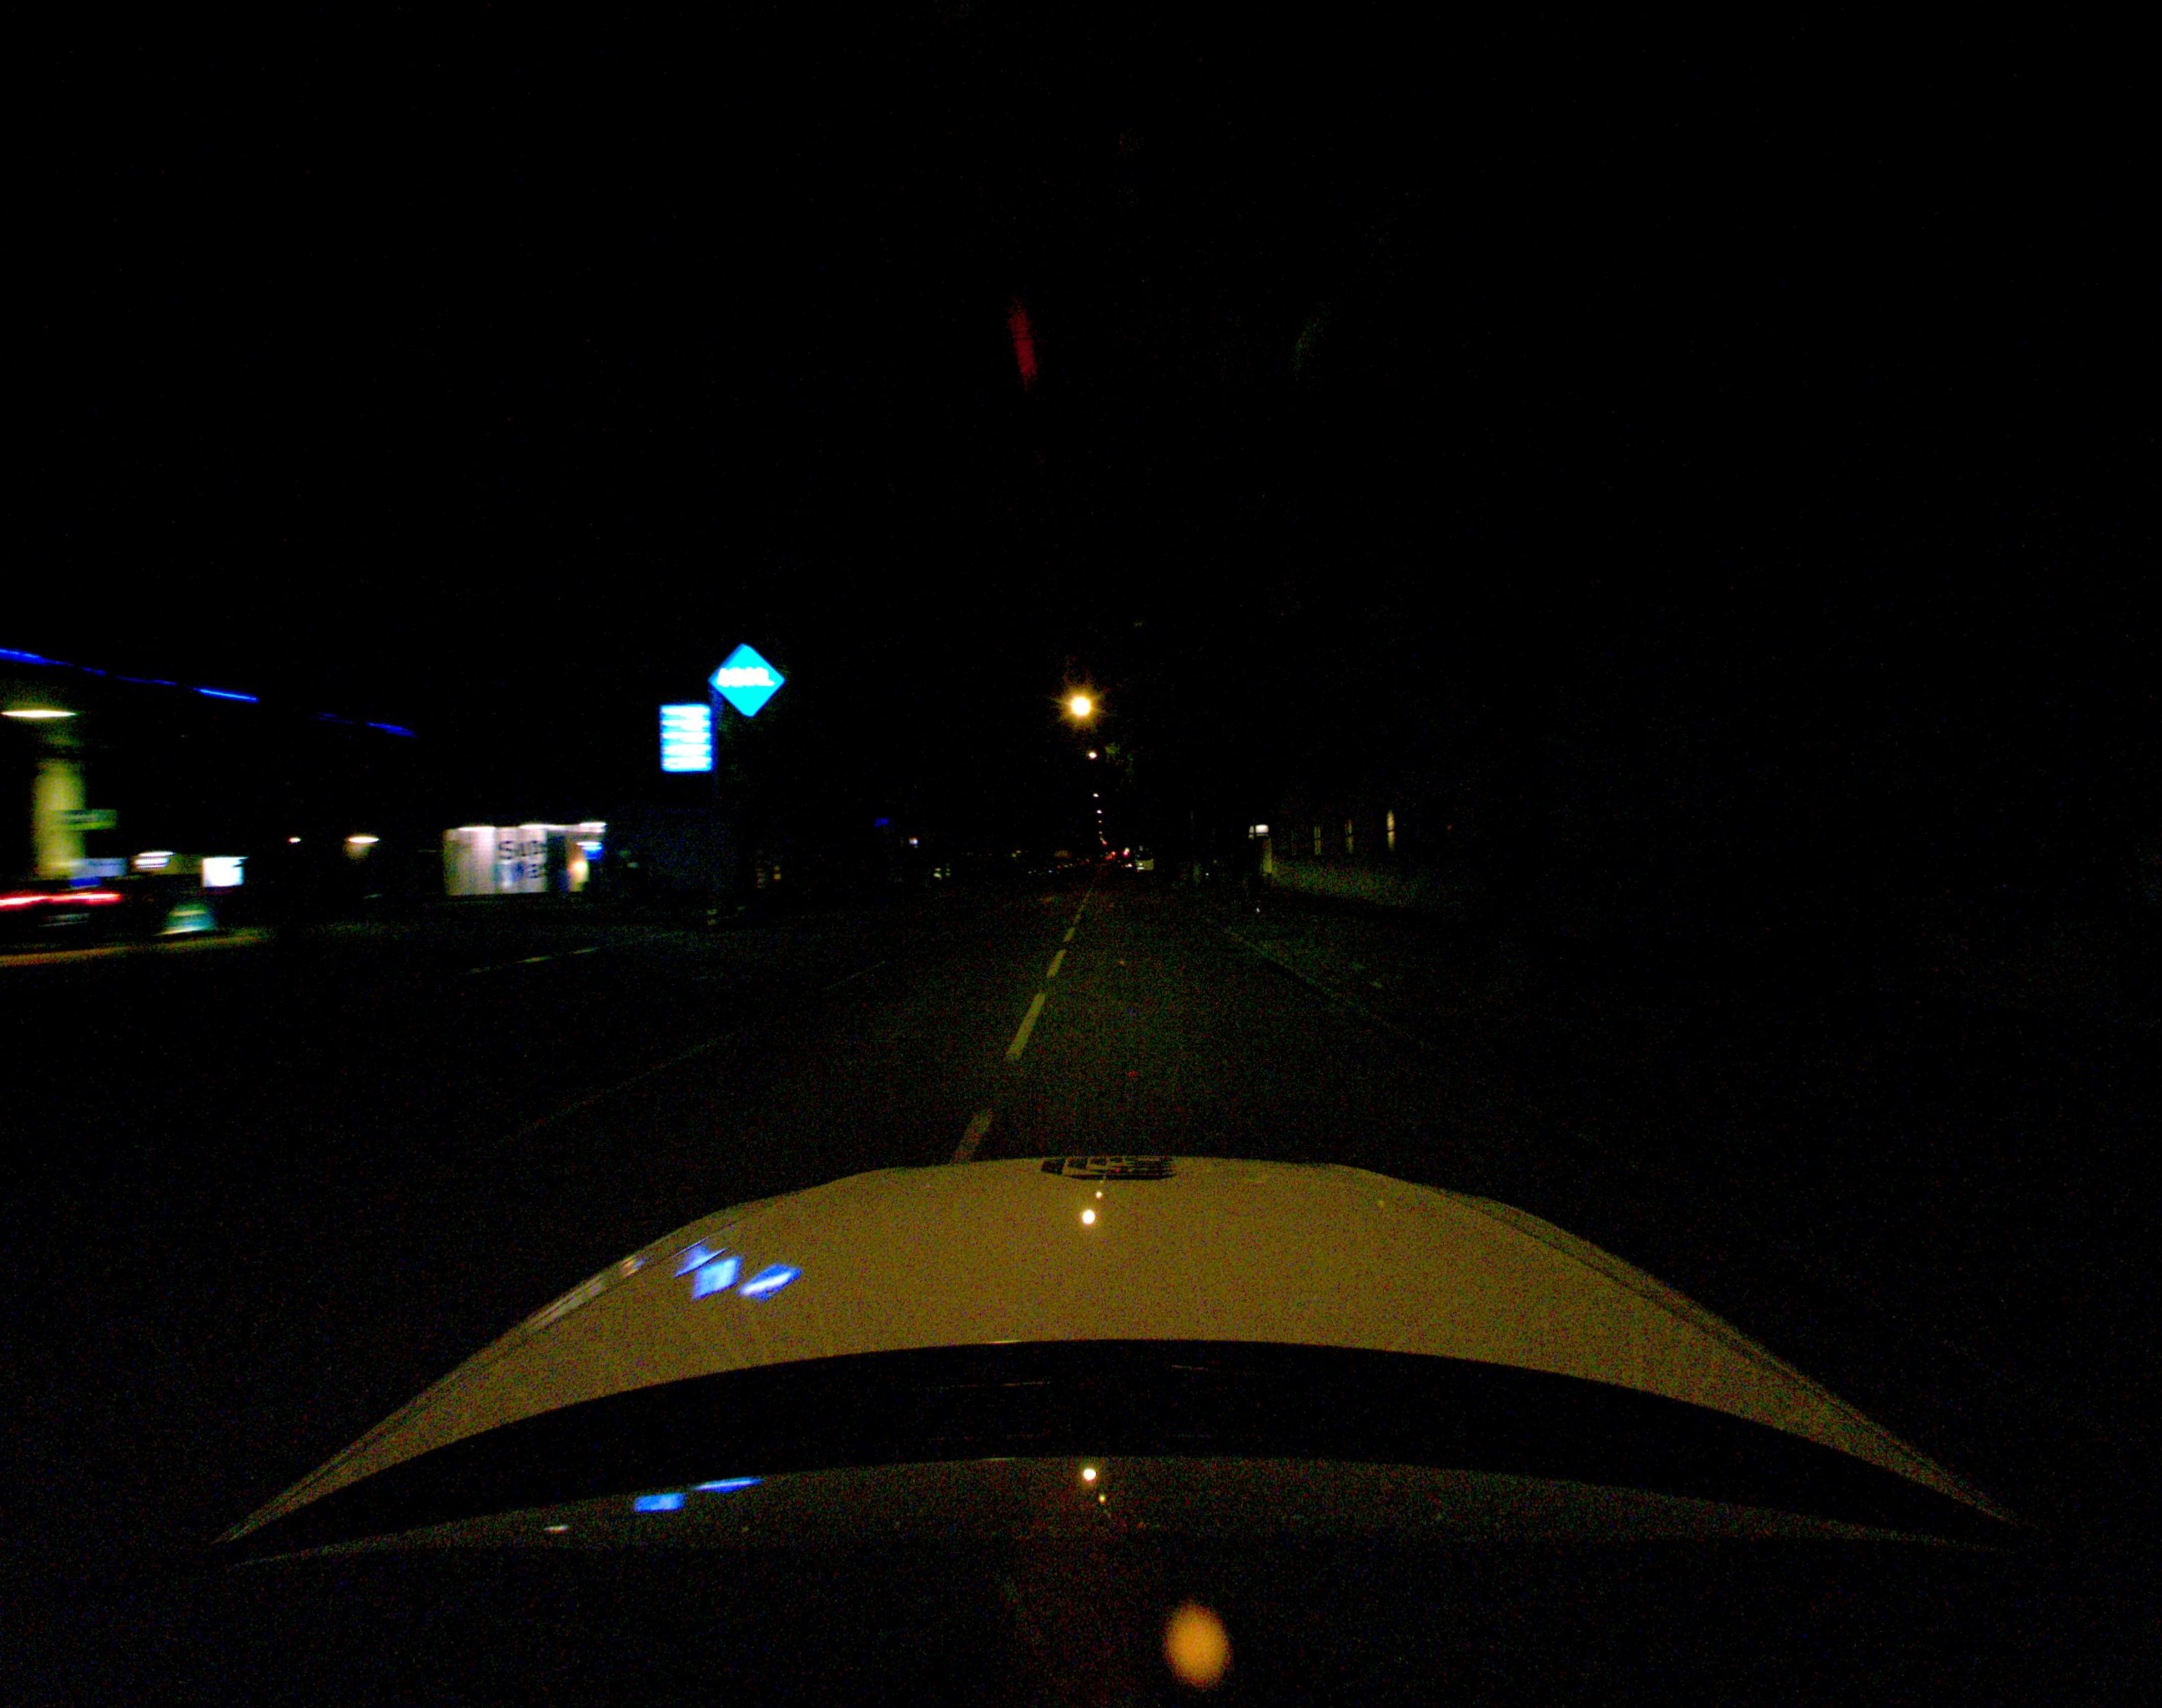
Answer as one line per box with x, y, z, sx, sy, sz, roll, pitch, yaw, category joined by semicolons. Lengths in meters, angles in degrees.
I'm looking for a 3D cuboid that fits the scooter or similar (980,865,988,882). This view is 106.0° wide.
-6.884;1.382;57.865;0.365;1.204;1.428;-2;-1;2;scooter or similar

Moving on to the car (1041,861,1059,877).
-2.968;1.436;78.784;1.440;1.429;3.904;1;0;1;car

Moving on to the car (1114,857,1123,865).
8.631;1.562;187.711;1.846;1.654;4.211;-1;0;2;car

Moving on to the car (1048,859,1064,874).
-2.721;1.370;88.555;1.640;1.505;3.860;1;0;0;car

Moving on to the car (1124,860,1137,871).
7.094;1.619;116.662;1.661;1.429;4.152;-3;-1;4;car

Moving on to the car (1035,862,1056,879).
-3.144;1.442;72.885;1.637;1.504;3.904;1;0;1;car

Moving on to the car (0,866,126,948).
-21.796;1.017;16.137;3.737;1.533;1.670;0;-1;0;car

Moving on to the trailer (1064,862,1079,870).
-1.534;1.922;130.221;2.102;1.335;5.438;1;-1;3;trailer

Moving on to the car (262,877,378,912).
-30.405;1.613;32.610;3.137;1.265;1.575;-1;0;0;car

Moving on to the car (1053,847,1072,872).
-2.248;0.681;100.818;2.171;2.909;4.910;0;-1;1;car

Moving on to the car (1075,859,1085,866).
-0.144;1.725;166.143;1.693;1.433;3.831;2;0;3;car

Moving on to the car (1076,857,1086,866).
-0.012;1.544;170.881;1.815;1.811;4.213;2;0;3;car

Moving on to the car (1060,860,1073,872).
-1.916;1.625;111.604;1.736;1.606;4.297;0;0;0;car

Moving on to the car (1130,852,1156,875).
5.638;0.869;74.561;1.944;1.964;4.603;-1;0;0;car

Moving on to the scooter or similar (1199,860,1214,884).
6.424;0.923;41.684;0.545;1.203;1.911;1;-2;2;scooter or similar

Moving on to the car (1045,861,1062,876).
-2.784;1.445;83.791;1.542;1.455;3.368;0;0;1;car

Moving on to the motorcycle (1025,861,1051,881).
-3.372;1.310;63.476;1.907;1.550;0.635;1;-1;-18;motorcycle

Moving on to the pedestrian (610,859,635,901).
-18.015;1.009;32.004;0.573;1.606;0.643;-1;-1;0;pedestrian
